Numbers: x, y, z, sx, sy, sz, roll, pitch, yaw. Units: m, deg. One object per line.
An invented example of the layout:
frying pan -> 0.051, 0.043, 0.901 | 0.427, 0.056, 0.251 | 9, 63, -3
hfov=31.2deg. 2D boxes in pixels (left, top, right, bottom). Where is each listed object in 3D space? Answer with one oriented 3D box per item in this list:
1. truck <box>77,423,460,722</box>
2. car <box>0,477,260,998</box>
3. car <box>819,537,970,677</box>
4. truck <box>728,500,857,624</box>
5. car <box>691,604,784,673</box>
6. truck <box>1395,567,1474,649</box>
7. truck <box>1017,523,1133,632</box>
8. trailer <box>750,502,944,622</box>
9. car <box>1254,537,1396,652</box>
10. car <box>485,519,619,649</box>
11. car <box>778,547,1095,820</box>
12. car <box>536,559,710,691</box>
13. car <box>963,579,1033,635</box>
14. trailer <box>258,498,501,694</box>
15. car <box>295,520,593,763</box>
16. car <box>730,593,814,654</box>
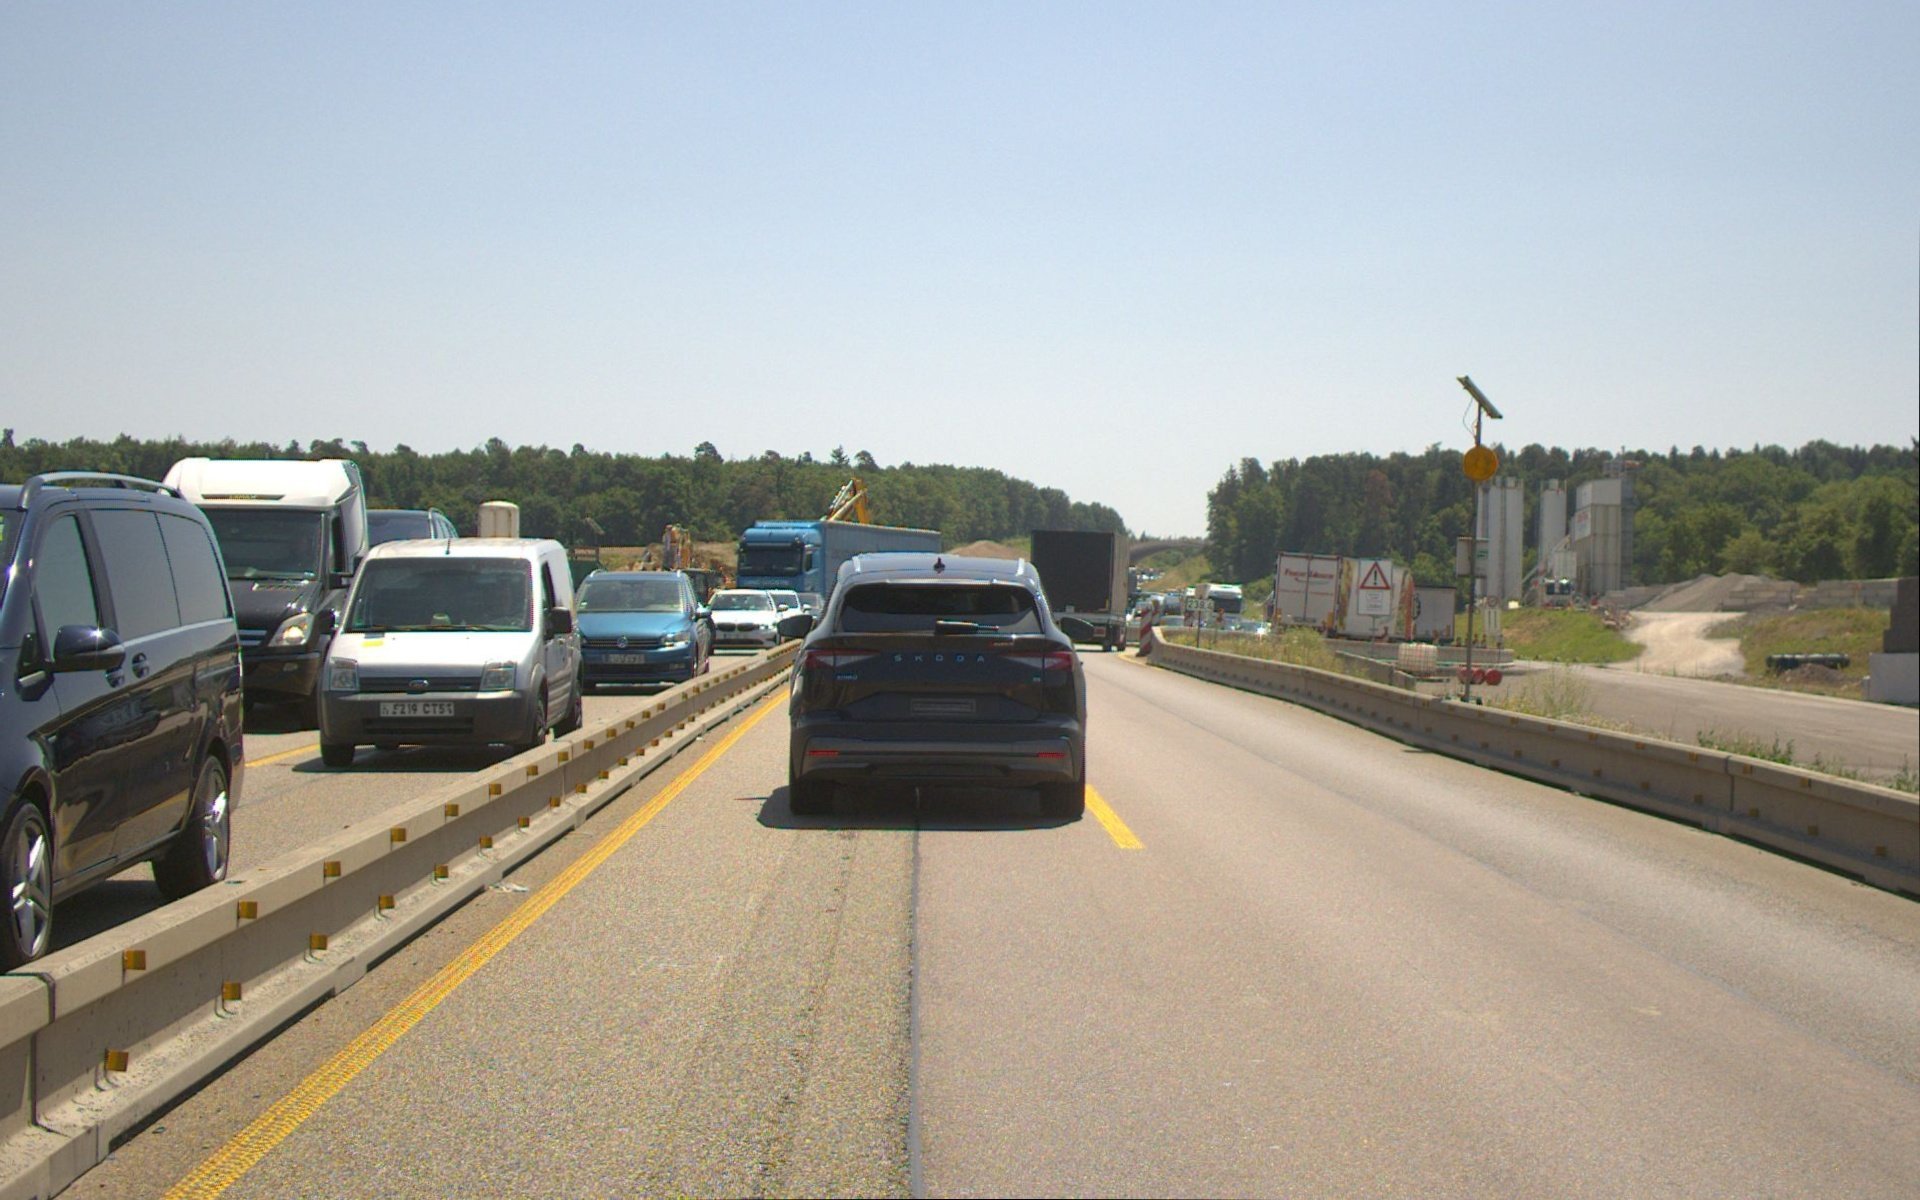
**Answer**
truck -> -7.116, -0.292, 36.495 | 2.480, 2.814, 8.129 | 0, 0, 0
car -> -4.305, 0.412, 14.121 | 1.907, 1.798, 5.082 | 1, 1, -1
car -> -0.951, 0.088, 49.042 | 1.993, 1.837, 4.000 | 2, 0, -2
truck -> -5.761, -1.295, 119.214 | 2.916, 4.115, 6.135 | 1, 0, 12
car -> -4.813, 0.818, 74.758 | 1.816, 1.371, 4.248 | -1, 1, -1
truck -> 27.078, 0.505, 195.972 | 3.477, 4.206, 10.371 | 6, 1, 11
truck -> 3.273, -0.674, 96.746 | 2.674, 2.935, 5.619 | 1, 1, 8
trailer -> -3.959, -1.319, 125.720 | 2.916, 4.115, 13.905 | 1, 0, 16
car -> 14.596, -0.157, 136.744 | 3.440, 4.087, 9.188 | 5, 0, 18
car -> -8.042, -0.336, 68.293 | 1.914, 2.391, 6.453 | -2, 1, -1
car -> -0.134, 0.474, 22.104 | 1.842, 1.576, 4.000 | 1, 0, 0
car -> -4.396, 0.296, 45.355 | 1.904, 1.603, 4.000 | 1, 1, 0
car -> 1.214, 0.223, 108.474 | 1.821, 1.638, 3.864 | 3, 0, 5
trailer -> -7.226, -0.088, 43.373 | 2.181, 2.306, 5.614 | 0, 1, -1
car -> -4.168, 0.261, 28.440 | 1.853, 1.833, 4.591 | 1, 1, -1
car -> -4.894, 0.589, 89.799 | 2.016, 1.439, 4.588 | 1, 1, -1
